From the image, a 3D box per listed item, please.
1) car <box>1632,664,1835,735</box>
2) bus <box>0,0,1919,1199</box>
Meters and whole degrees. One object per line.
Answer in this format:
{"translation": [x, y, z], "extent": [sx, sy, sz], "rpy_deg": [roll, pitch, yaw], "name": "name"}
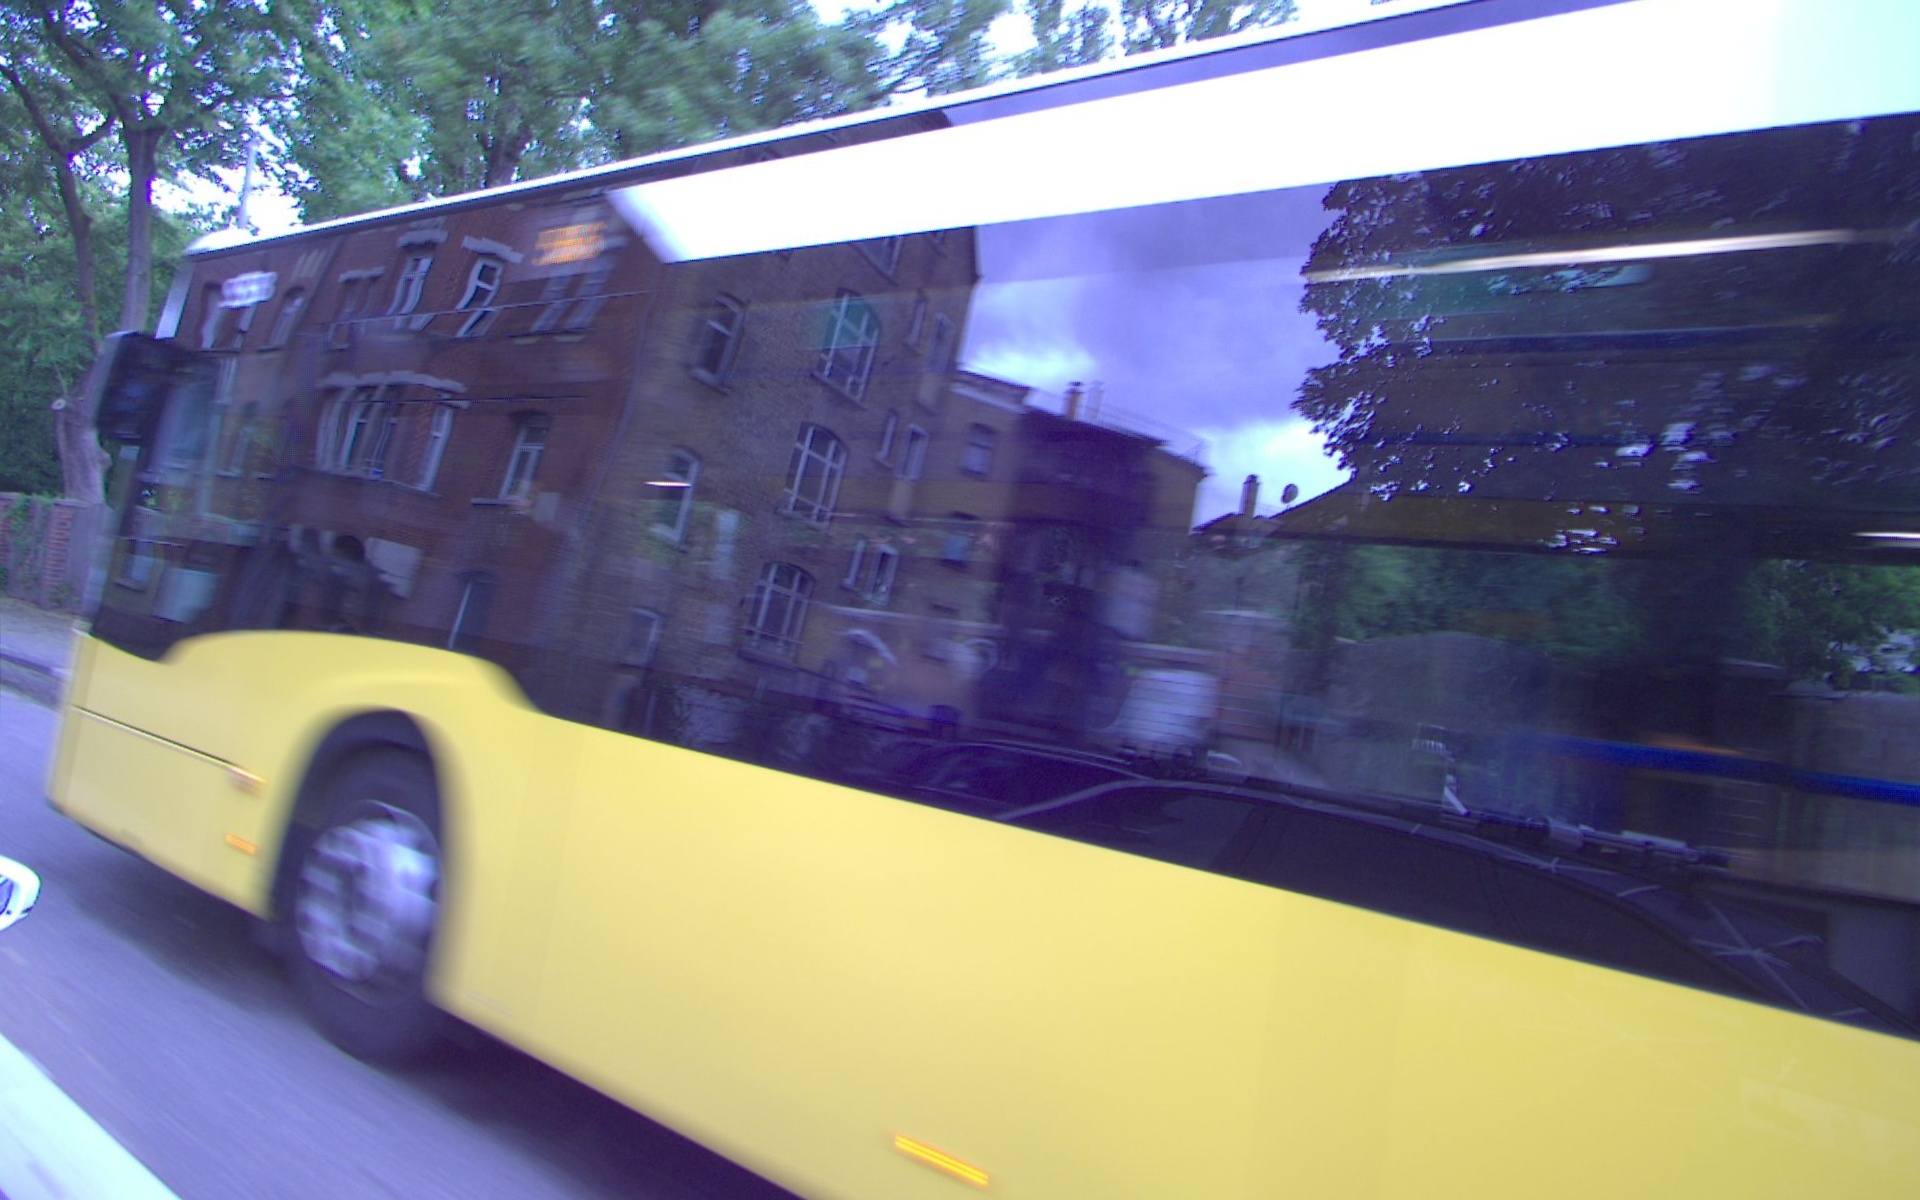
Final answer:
{"translation": [21.849, 2.791, 28.790], "extent": [1.962, 1.606, 5.570], "rpy_deg": [6, -4, 7], "name": "car"}
{"translation": [0.008, 0.203, 3.556], "extent": [9.064, 3.169, 2.682], "rpy_deg": [7, -5, 32], "name": "bus"}
